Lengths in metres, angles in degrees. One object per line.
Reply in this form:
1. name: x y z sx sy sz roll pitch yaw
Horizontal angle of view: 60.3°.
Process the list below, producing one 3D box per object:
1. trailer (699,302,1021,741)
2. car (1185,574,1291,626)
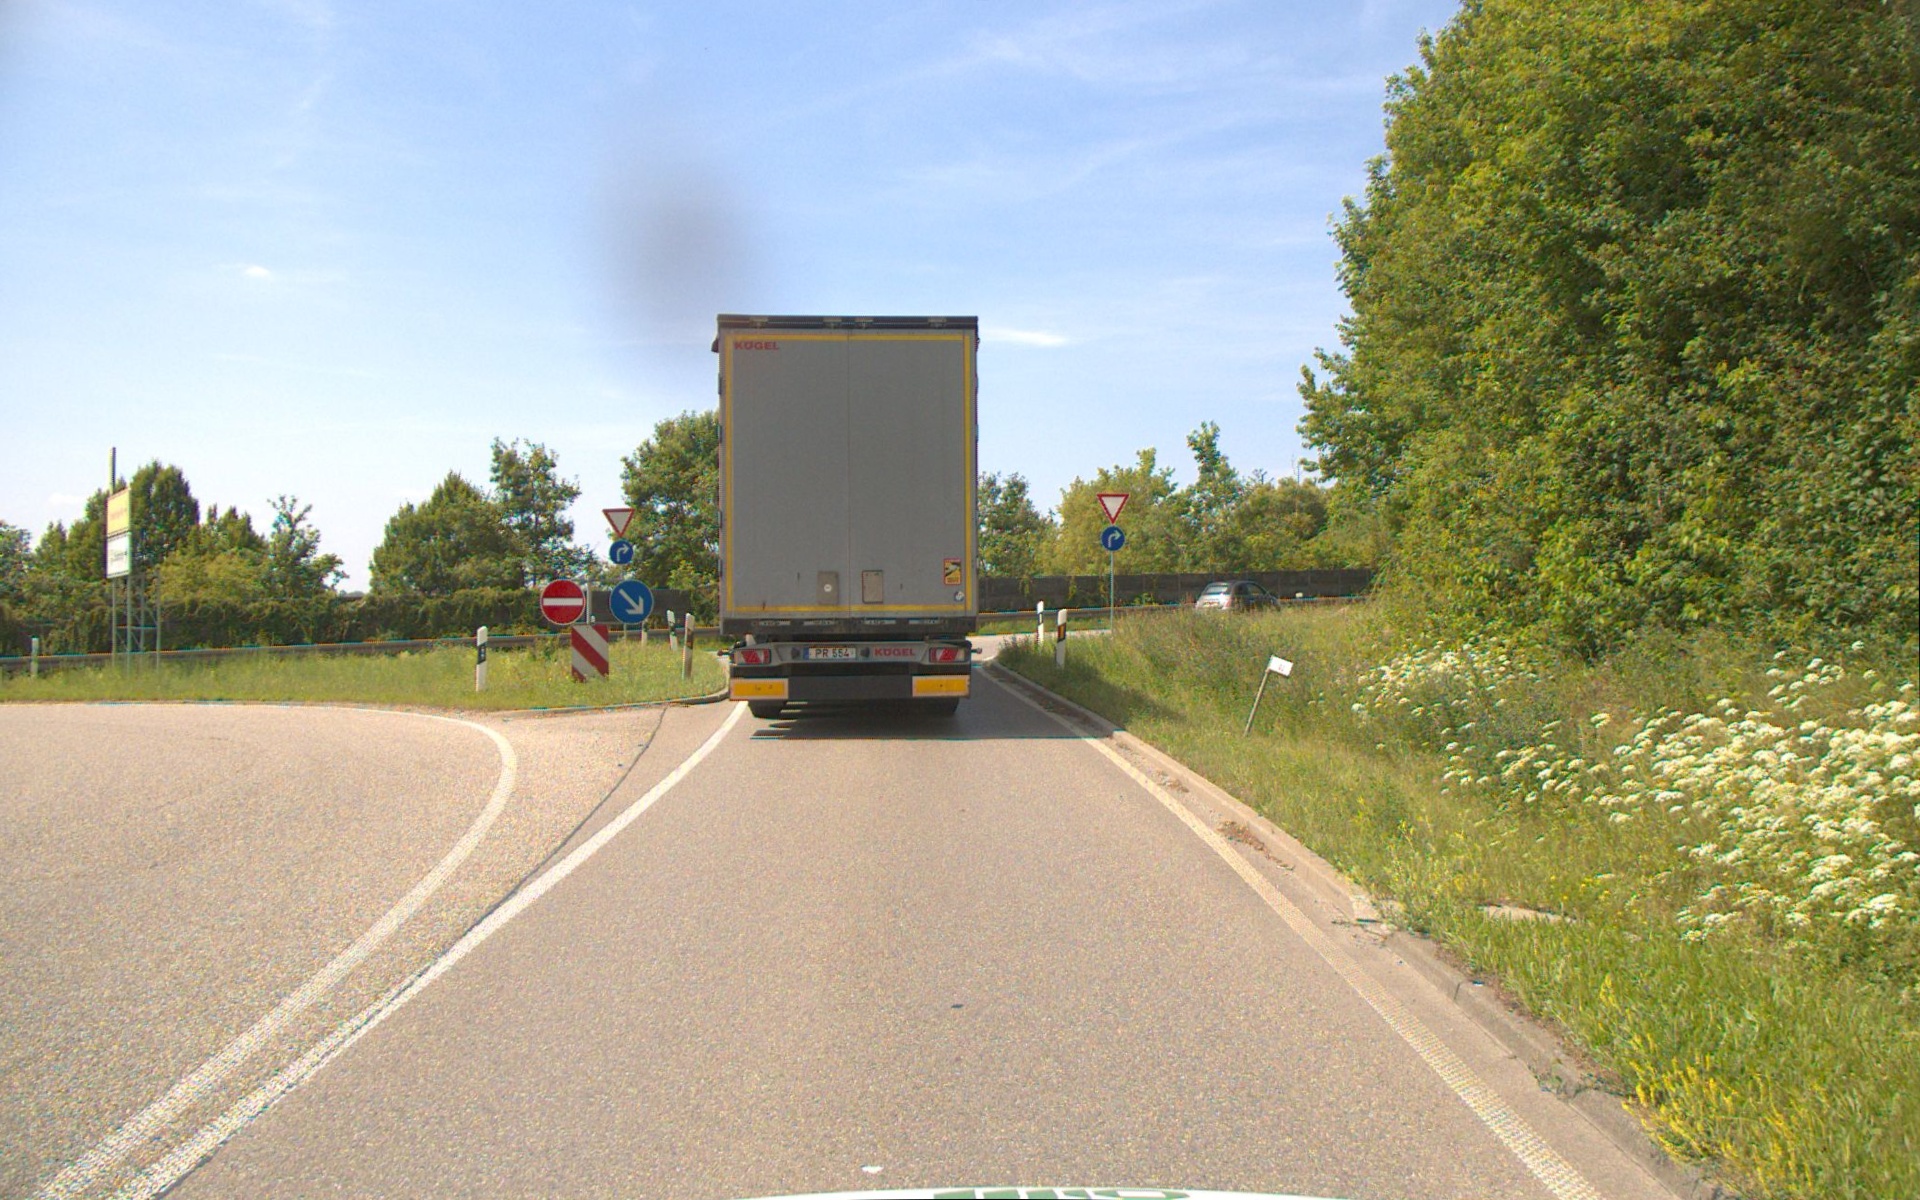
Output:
1. trailer: -1.324 -0.812 22.301 2.967 4.105 13.343 -1 1 -3
2. car: 8.960 -0.019 53.106 1.639 1.512 3.983 -1 1 38
